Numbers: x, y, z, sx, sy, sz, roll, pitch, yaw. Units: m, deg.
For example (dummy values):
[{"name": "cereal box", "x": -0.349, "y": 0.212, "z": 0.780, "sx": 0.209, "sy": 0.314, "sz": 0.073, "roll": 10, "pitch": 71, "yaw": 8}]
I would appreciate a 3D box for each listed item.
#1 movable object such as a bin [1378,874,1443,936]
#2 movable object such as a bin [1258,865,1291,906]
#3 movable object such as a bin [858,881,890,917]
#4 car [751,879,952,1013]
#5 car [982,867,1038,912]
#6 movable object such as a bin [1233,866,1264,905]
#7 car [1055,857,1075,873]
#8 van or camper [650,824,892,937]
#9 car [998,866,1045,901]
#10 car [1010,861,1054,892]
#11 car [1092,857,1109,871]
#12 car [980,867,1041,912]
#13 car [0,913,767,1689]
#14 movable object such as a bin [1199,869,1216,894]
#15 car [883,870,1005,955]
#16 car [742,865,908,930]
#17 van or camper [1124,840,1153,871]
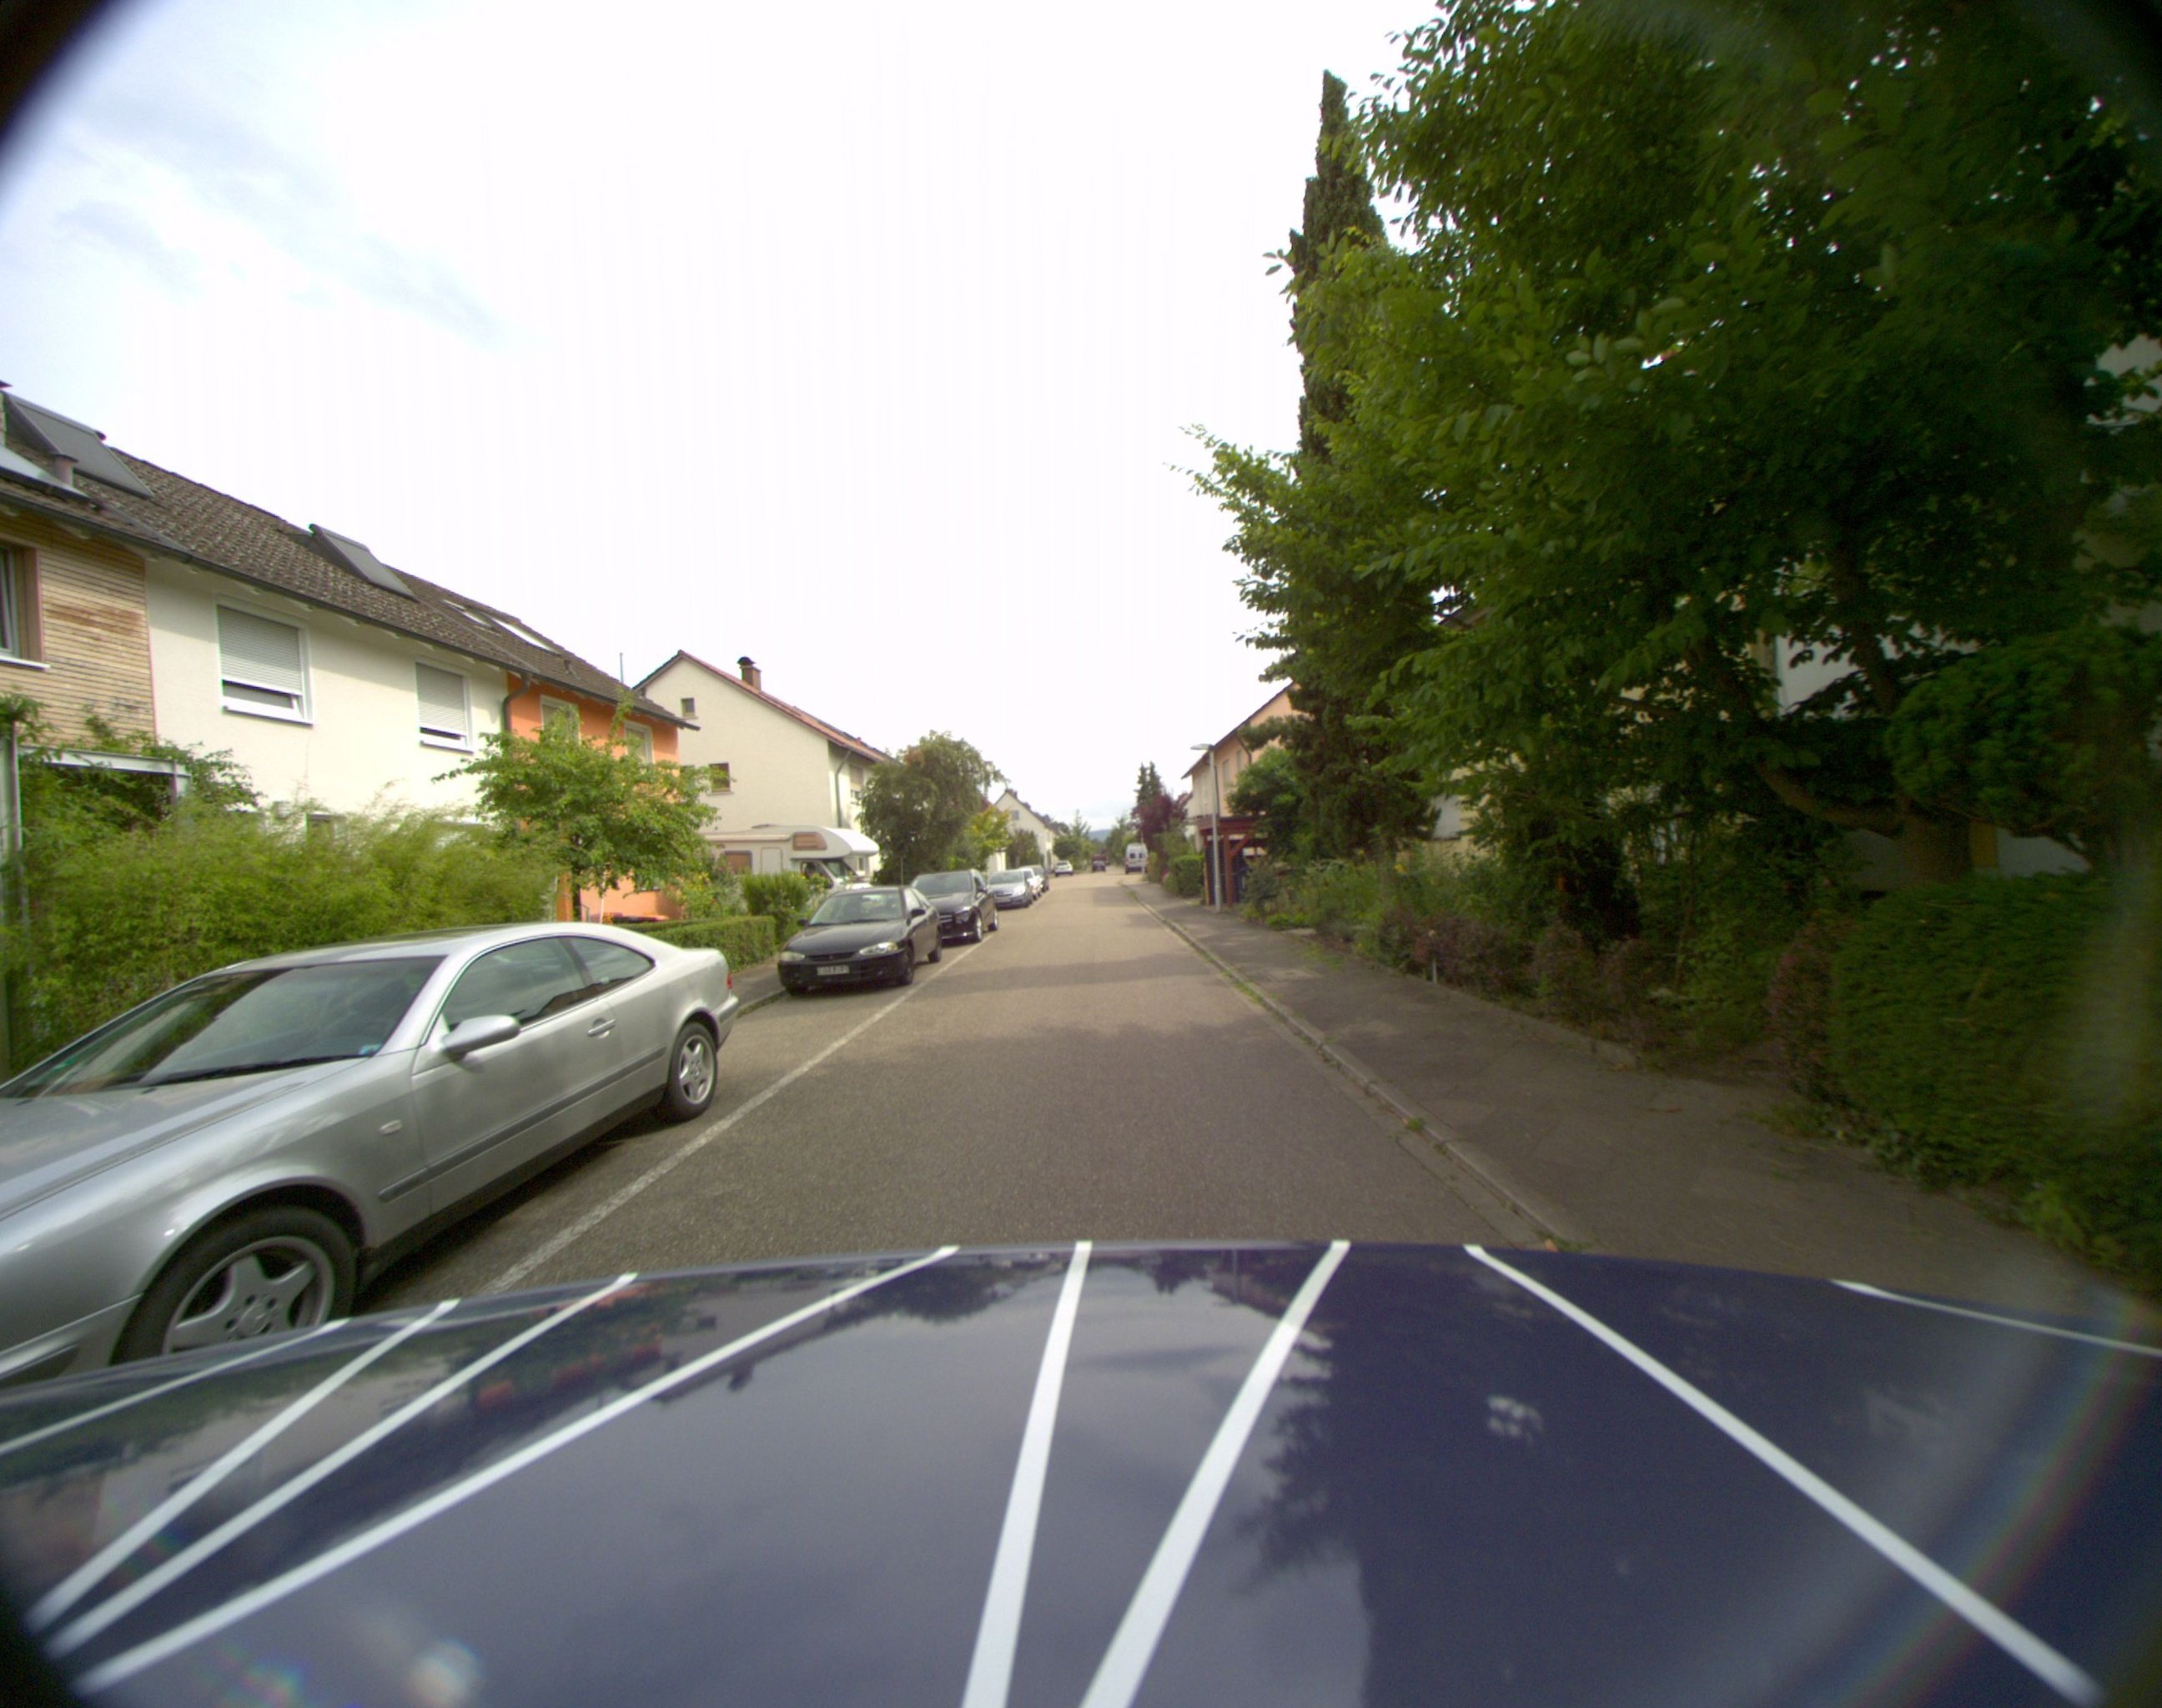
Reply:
[{"name": "movable object such as a bin", "x": 5.475, "y": 0.833, "z": 12.674, "sx": 0.713, "sy": 0.951, "sz": 0.751, "roll": -3, "pitch": 0, "yaw": 1}, {"name": "movable object such as a bin", "x": 5.621, "y": 0.916, "z": 22.098, "sx": 0.705, "sy": 1.123, "sz": 0.877, "roll": -2, "pitch": 0, "yaw": 1}, {"name": "movable object such as a bin", "x": -7.213, "y": 1.563, "z": 26.517, "sx": 0.721, "sy": 1.187, "sz": 1.099, "roll": -2, "pitch": 0, "yaw": 1}, {"name": "car", "x": -3.163, "y": 1.195, "z": 11.375, "sx": 1.737, "sy": 1.419, "sz": 4.125, "roll": -4, "pitch": 0, "yaw": -1}, {"name": "car", "x": -2.676, "y": 1.302, "z": 29.350, "sx": 1.707, "sy": 1.433, "sz": 4.220, "roll": -5, "pitch": 0, "yaw": -1}, {"name": "movable object such as a bin", "x": 4.862, "y": 0.902, "z": 22.117, "sx": 0.705, "sy": 1.065, "sz": 0.822, "roll": -2, "pitch": 0, "yaw": 1}, {"name": "car", "x": -1.717, "y": 1.143, "z": 82.160, "sx": 1.999, "sy": 1.589, "sz": 3.999, "roll": -4, "pitch": 0, "yaw": -2}, {"name": "van or camper", "x": -8.804, "y": 0.737, "z": 22.012, "sx": 5.811, "sy": 2.801, "sz": 2.537, "roll": -3, "pitch": 0, "yaw": 4}, {"name": "car", "x": -2.659, "y": 1.303, "z": 34.945, "sx": 1.697, "sy": 1.357, "sz": 4.698, "roll": -4, "pitch": 0, "yaw": 0}, {"name": "car", "x": -2.623, "y": 1.192, "z": 41.635, "sx": 1.872, "sy": 1.431, "sz": 4.851, "roll": -4, "pitch": 0, "yaw": 2}, {"name": "car", "x": 2.606, "y": 1.332, "z": 101.682, "sx": 1.998, "sy": 1.696, "sz": 4.001, "roll": -4, "pitch": 0, "yaw": 5}, {"name": "car", "x": -2.662, "y": 1.313, "z": 29.453, "sx": 1.746, "sy": 1.462, "sz": 4.218, "roll": -3, "pitch": 0, "yaw": 2}, {"name": "car", "x": -3.398, "y": 1.228, "z": 3.511, "sx": 1.872, "sy": 1.399, "sz": 4.767, "roll": -5, "pitch": 0, "yaw": -1}, {"name": "movable object such as a bin", "x": 4.785, "y": 1.030, "z": 28.712, "sx": 0.497, "sy": 0.876, "sz": 0.530, "roll": -3, "pitch": 0, "yaw": 1}, {"name": "car", "x": -2.886, "y": 1.179, "z": 17.028, "sx": 1.753, "sy": 1.458, "sz": 4.648, "roll": -4, "pitch": 0, "yaw": 1}, {"name": "car", "x": -8.106, "y": 1.348, "z": 24.306, "sx": 4.541, "sy": 1.698, "sz": 1.900, "roll": -4, "pitch": 0, "yaw": 4}, {"name": "van or camper", "x": 5.392, "y": 0.132, "z": 72.114, "sx": 2.346, "sy": 2.719, "sz": 5.748, "roll": -4, "pitch": 0, "yaw": 2}]
